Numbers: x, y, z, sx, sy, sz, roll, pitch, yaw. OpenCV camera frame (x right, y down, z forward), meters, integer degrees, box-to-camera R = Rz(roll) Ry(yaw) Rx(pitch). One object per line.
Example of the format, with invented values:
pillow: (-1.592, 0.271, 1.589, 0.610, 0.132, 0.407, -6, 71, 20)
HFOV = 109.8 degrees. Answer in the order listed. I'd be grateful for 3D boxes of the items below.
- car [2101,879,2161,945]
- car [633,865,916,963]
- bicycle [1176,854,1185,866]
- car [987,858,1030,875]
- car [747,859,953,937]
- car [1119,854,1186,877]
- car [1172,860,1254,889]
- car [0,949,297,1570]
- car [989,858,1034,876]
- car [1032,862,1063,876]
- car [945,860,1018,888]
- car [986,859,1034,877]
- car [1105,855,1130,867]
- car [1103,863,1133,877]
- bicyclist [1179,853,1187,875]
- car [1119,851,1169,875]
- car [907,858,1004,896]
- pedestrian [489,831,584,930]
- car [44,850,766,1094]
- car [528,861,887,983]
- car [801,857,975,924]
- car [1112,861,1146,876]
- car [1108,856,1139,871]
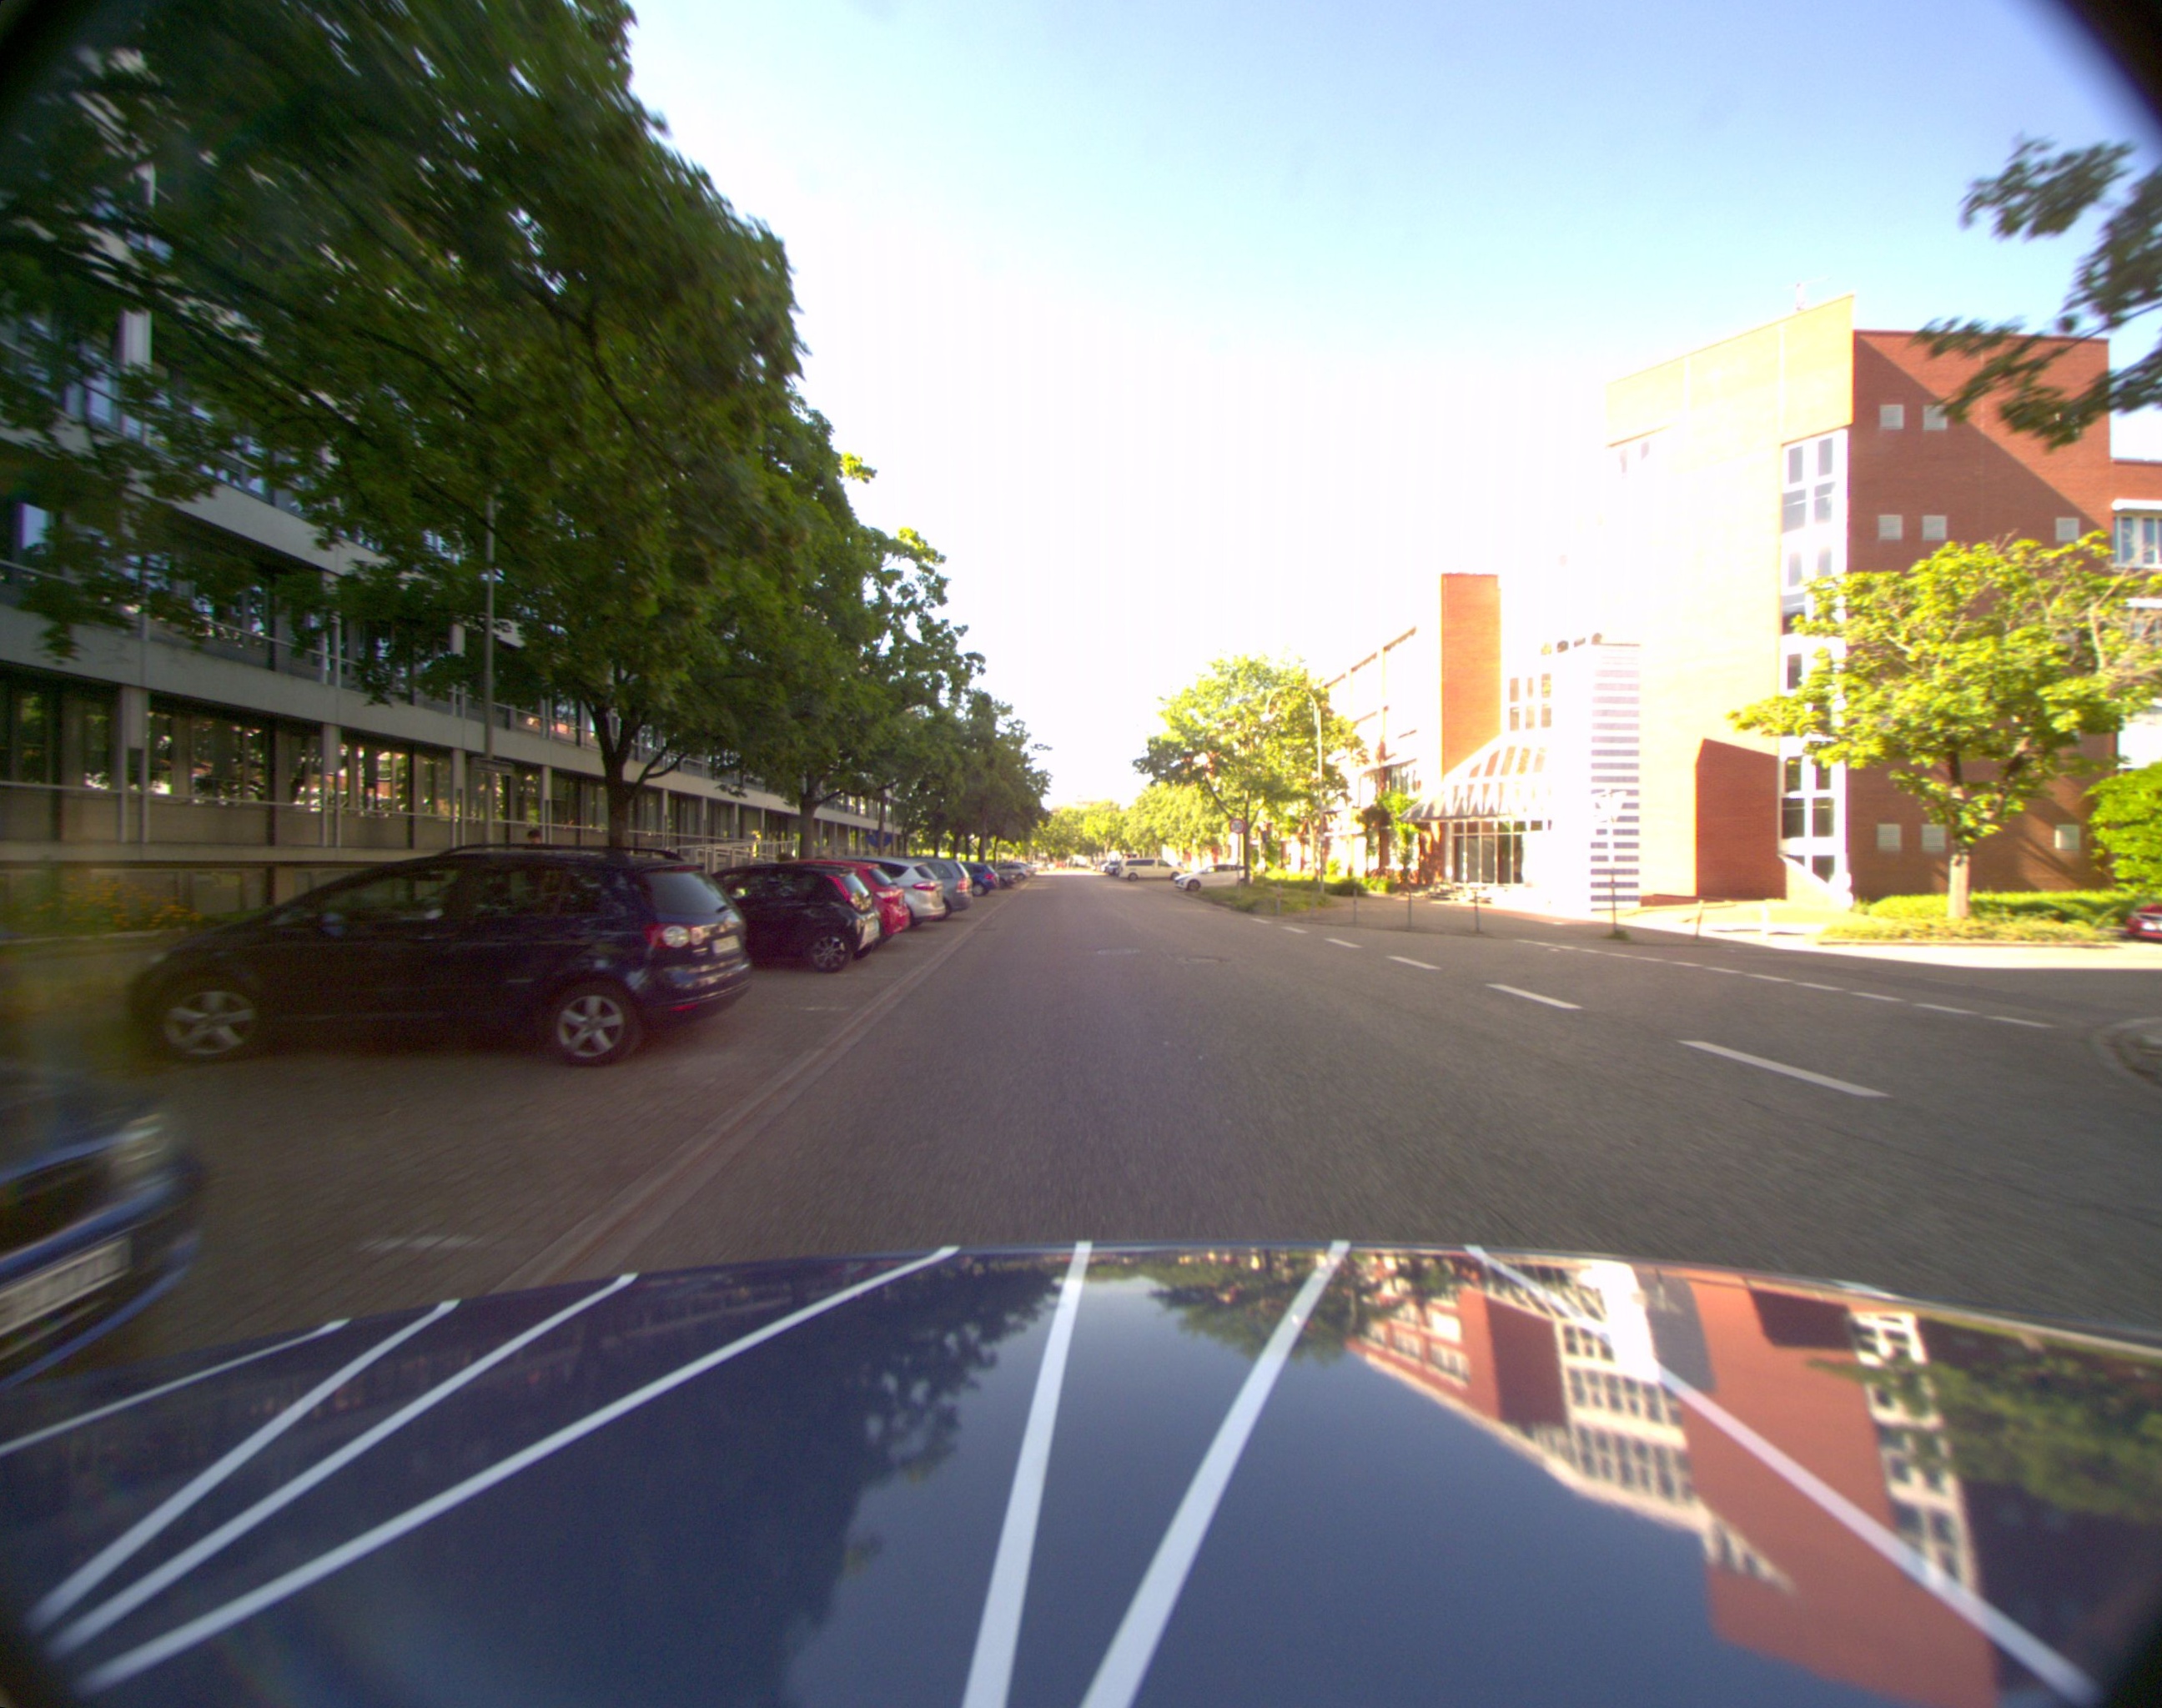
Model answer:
car: (26.544, 1.311, 17.227, 4.438, 1.443, 1.847, 0, 0, -1)
car: (-5.018, 0.955, 12.971, 4.137, 1.508, 1.835, 0, 0, -6)
bicycle: (9.379, 0.597, 71.922, 0.637, 1.092, 2.155, -1, 0, 2)
car: (-6.854, 1.149, 72.155, 3.999, 1.470, 1.803, 2, 0, -5)
car: (-4.970, 0.920, 16.751, 3.997, 1.575, 1.714, 1, 0, 0)
car: (5.884, 0.928, 62.660, 5.318, 1.875, 2.000, 0, 0, -1)
car: (6.957, 1.060, 40.145, 4.004, 1.411, 1.618, -1, 0, -3)
car: (-4.571, 0.936, 1.471, 4.128, 1.362, 1.654, 2, 0, -5)
car: (-6.295, 1.171, 69.296, 3.999, 1.470, 1.803, 2, 0, -5)
car: (-3.954, 1.797, 89.475, 3.555, 1.544, 1.743, 2, -2, -5)
car: (-5.471, 1.084, 42.233, 3.918, 1.374, 1.586, 2, 1, -5)
car: (-5.999, 1.195, 64.156, 3.999, 1.470, 1.803, 1, 0, -5)
car: (5.206, 1.051, 108.039, 3.452, 1.647, 1.594, 1, 0, -2)
car: (4.350, 1.882, 89.469, 3.452, 1.647, 1.594, 1, 0, -2)
bicyclist: (9.657, 0.936, 71.828, 0.633, 2.002, 0.609, -1, 1, 1)
car: (6.037, 0.852, 72.929, 4.635, 2.156, 2.000, 1, 0, -1)
car: (-5.550, 0.999, 33.909, 3.996, 1.486, 1.714, 2, 0, 1)
pedestrian: (-10.366, 0.485, 14.508, 1.037, 1.788, 1.018, -2, 1, -3)
car: (-4.956, 0.846, 6.093, 4.137, 1.581, 1.659, 2, 1, -5)
car: (-4.984, 0.901, 10.642, 4.137, 1.452, 1.659, 2, 0, -6)
car: (-4.870, 0.918, 19.732, 4.137, 1.657, 1.906, 1, 0, -6)
car: (4.982, 1.514, 79.445, 3.452, 1.546, 1.594, 1, 0, -2)
car: (4.848, 1.116, 87.391, 3.452, 1.619, 1.594, 1, 0, -2)
